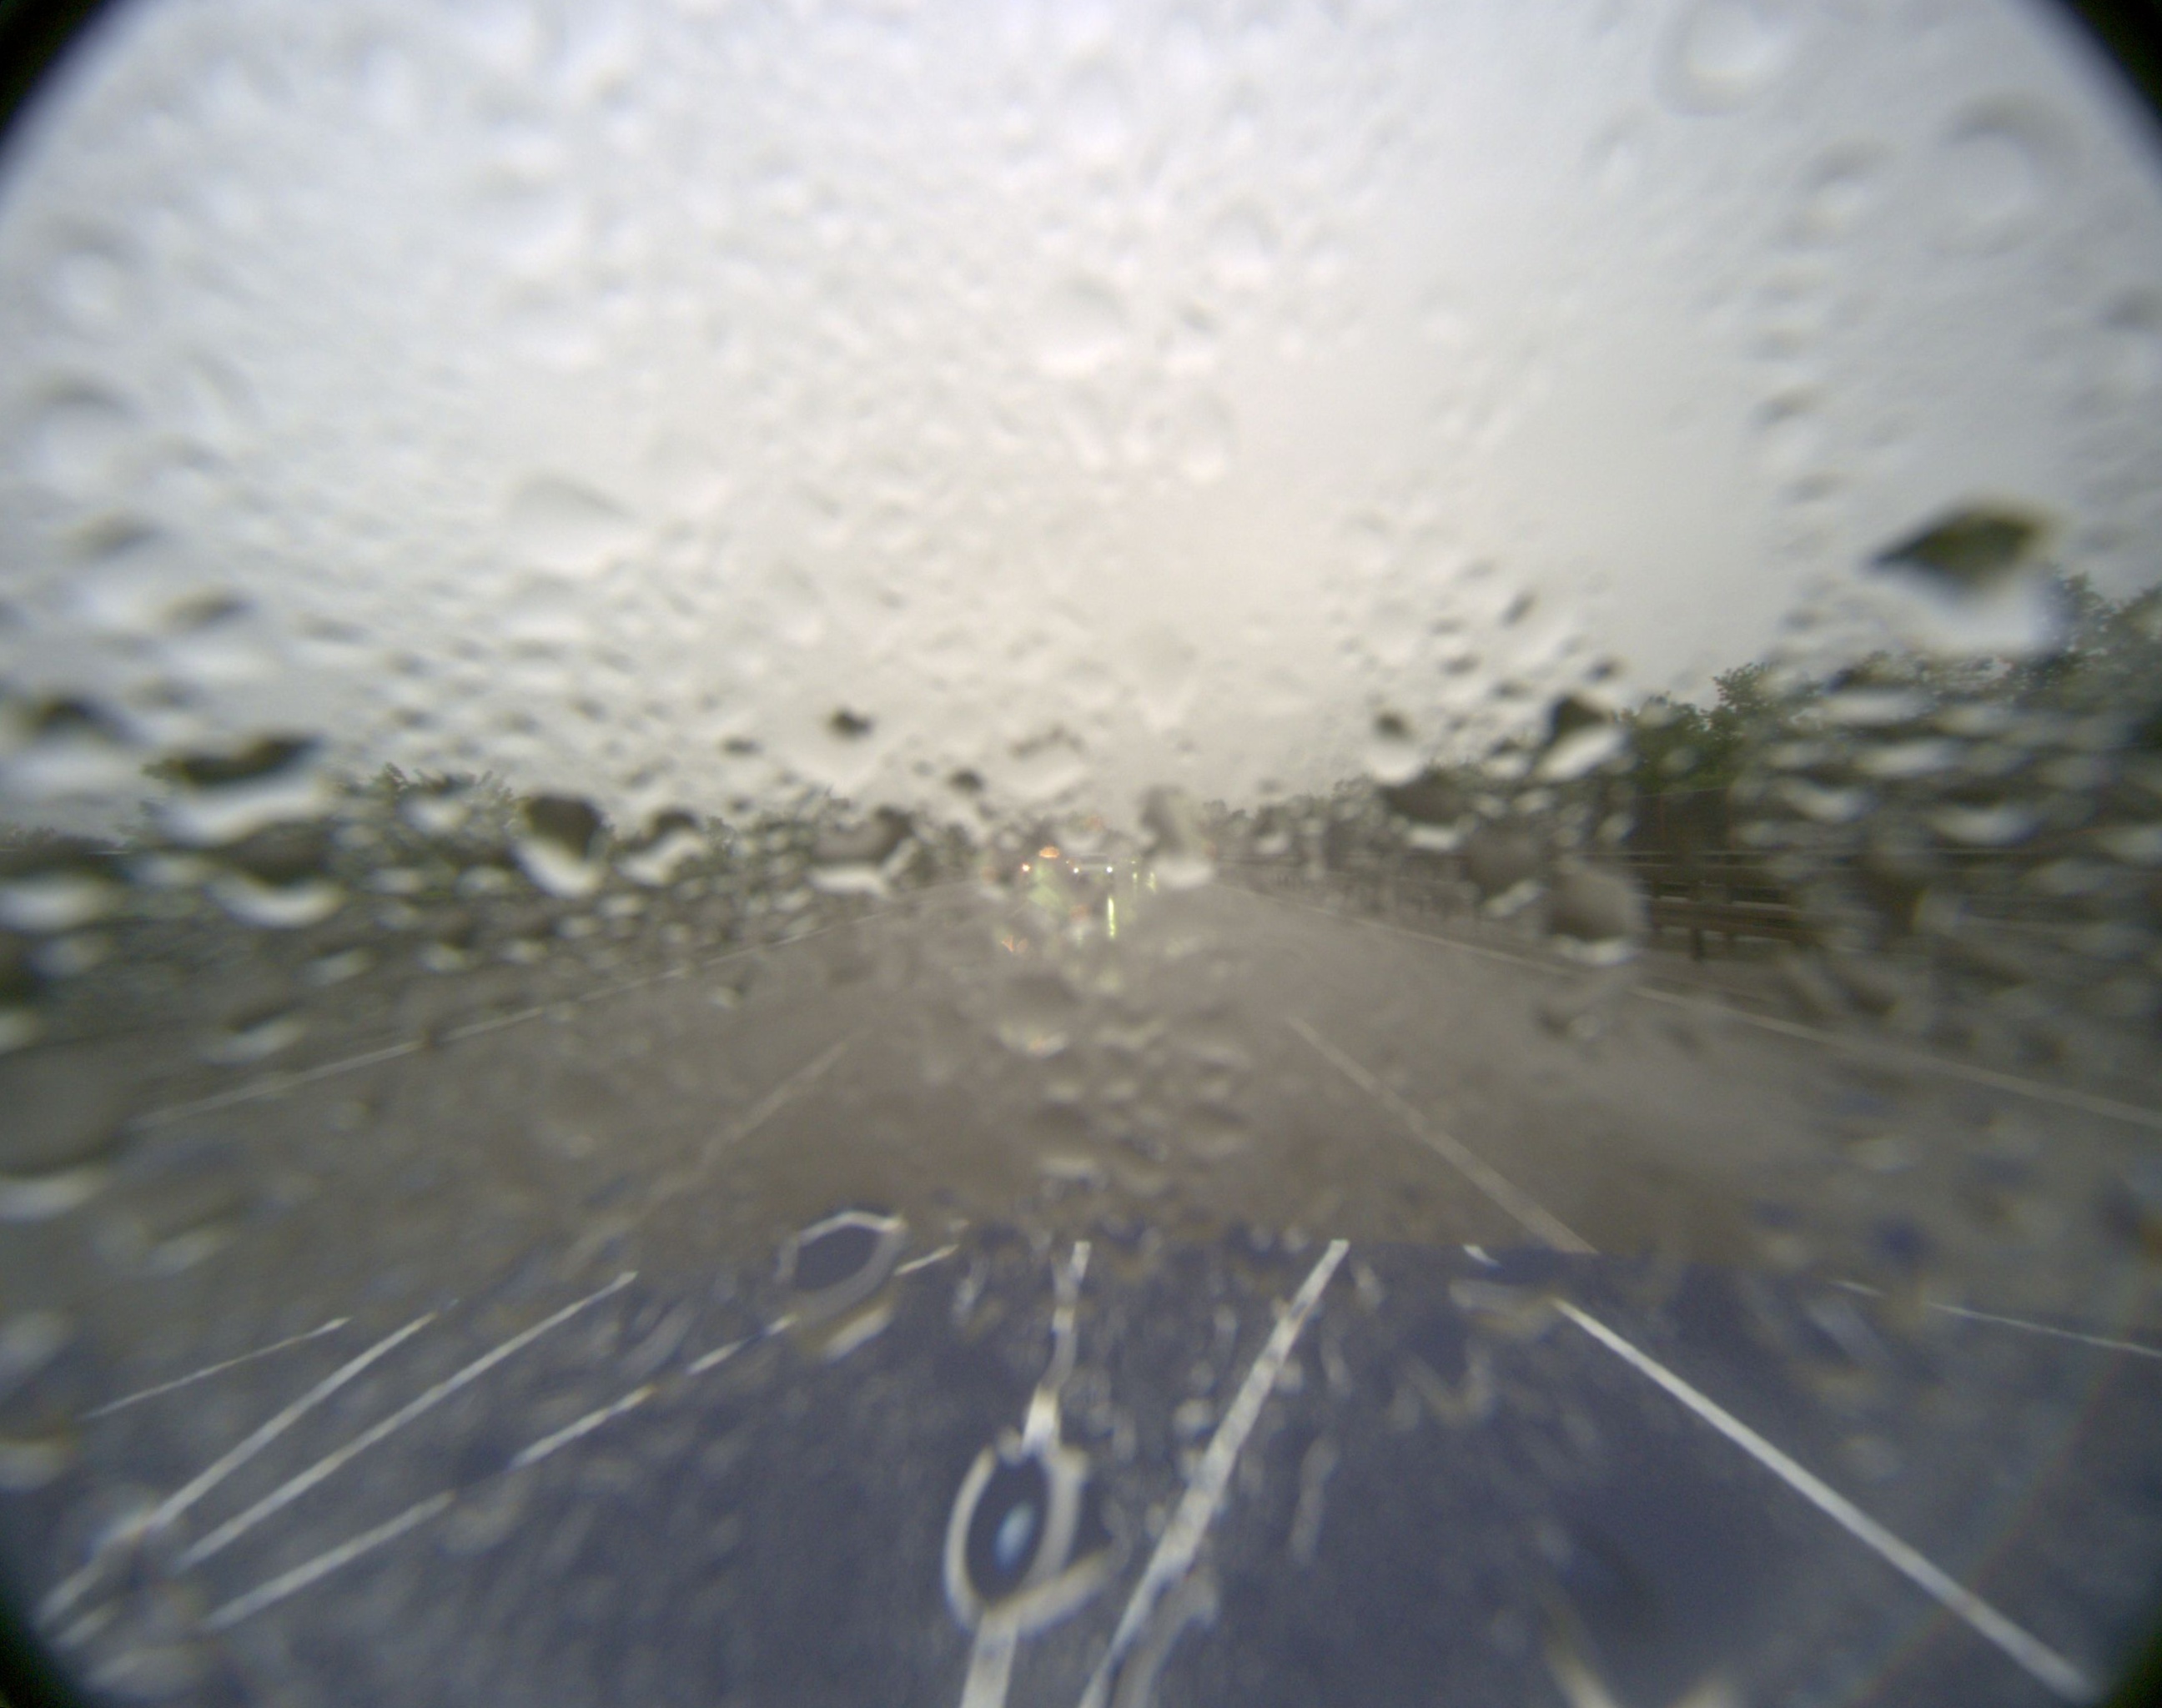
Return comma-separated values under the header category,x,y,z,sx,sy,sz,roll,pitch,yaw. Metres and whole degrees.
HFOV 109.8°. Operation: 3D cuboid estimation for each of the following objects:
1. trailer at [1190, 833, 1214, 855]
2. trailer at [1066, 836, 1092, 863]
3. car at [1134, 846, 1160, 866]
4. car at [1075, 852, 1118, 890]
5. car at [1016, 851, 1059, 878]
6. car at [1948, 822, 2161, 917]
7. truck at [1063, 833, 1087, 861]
category,x,y,z,sx,sy,sz,roll,pitch,yaw
trailer,28.470,-2.302,179.063,3.878,4.668,12.244,-2,0,2
trailer,-0.194,-0.724,122.592,2.750,3.940,14.134,-2,0,5
car,5.689,0.155,65.717,1.900,1.533,4.090,-2,0,0
car,0.761,0.700,34.338,1.751,1.545,4.091,-2,0,3
car,-3.045,0.730,54.603,2.463,1.736,5.719,-2,0,2
car,16.760,0.197,12.058,1.752,1.375,3.740,-2,1,1
truck,-0.869,-0.999,115.543,2.754,4.055,6.484,-2,1,5
